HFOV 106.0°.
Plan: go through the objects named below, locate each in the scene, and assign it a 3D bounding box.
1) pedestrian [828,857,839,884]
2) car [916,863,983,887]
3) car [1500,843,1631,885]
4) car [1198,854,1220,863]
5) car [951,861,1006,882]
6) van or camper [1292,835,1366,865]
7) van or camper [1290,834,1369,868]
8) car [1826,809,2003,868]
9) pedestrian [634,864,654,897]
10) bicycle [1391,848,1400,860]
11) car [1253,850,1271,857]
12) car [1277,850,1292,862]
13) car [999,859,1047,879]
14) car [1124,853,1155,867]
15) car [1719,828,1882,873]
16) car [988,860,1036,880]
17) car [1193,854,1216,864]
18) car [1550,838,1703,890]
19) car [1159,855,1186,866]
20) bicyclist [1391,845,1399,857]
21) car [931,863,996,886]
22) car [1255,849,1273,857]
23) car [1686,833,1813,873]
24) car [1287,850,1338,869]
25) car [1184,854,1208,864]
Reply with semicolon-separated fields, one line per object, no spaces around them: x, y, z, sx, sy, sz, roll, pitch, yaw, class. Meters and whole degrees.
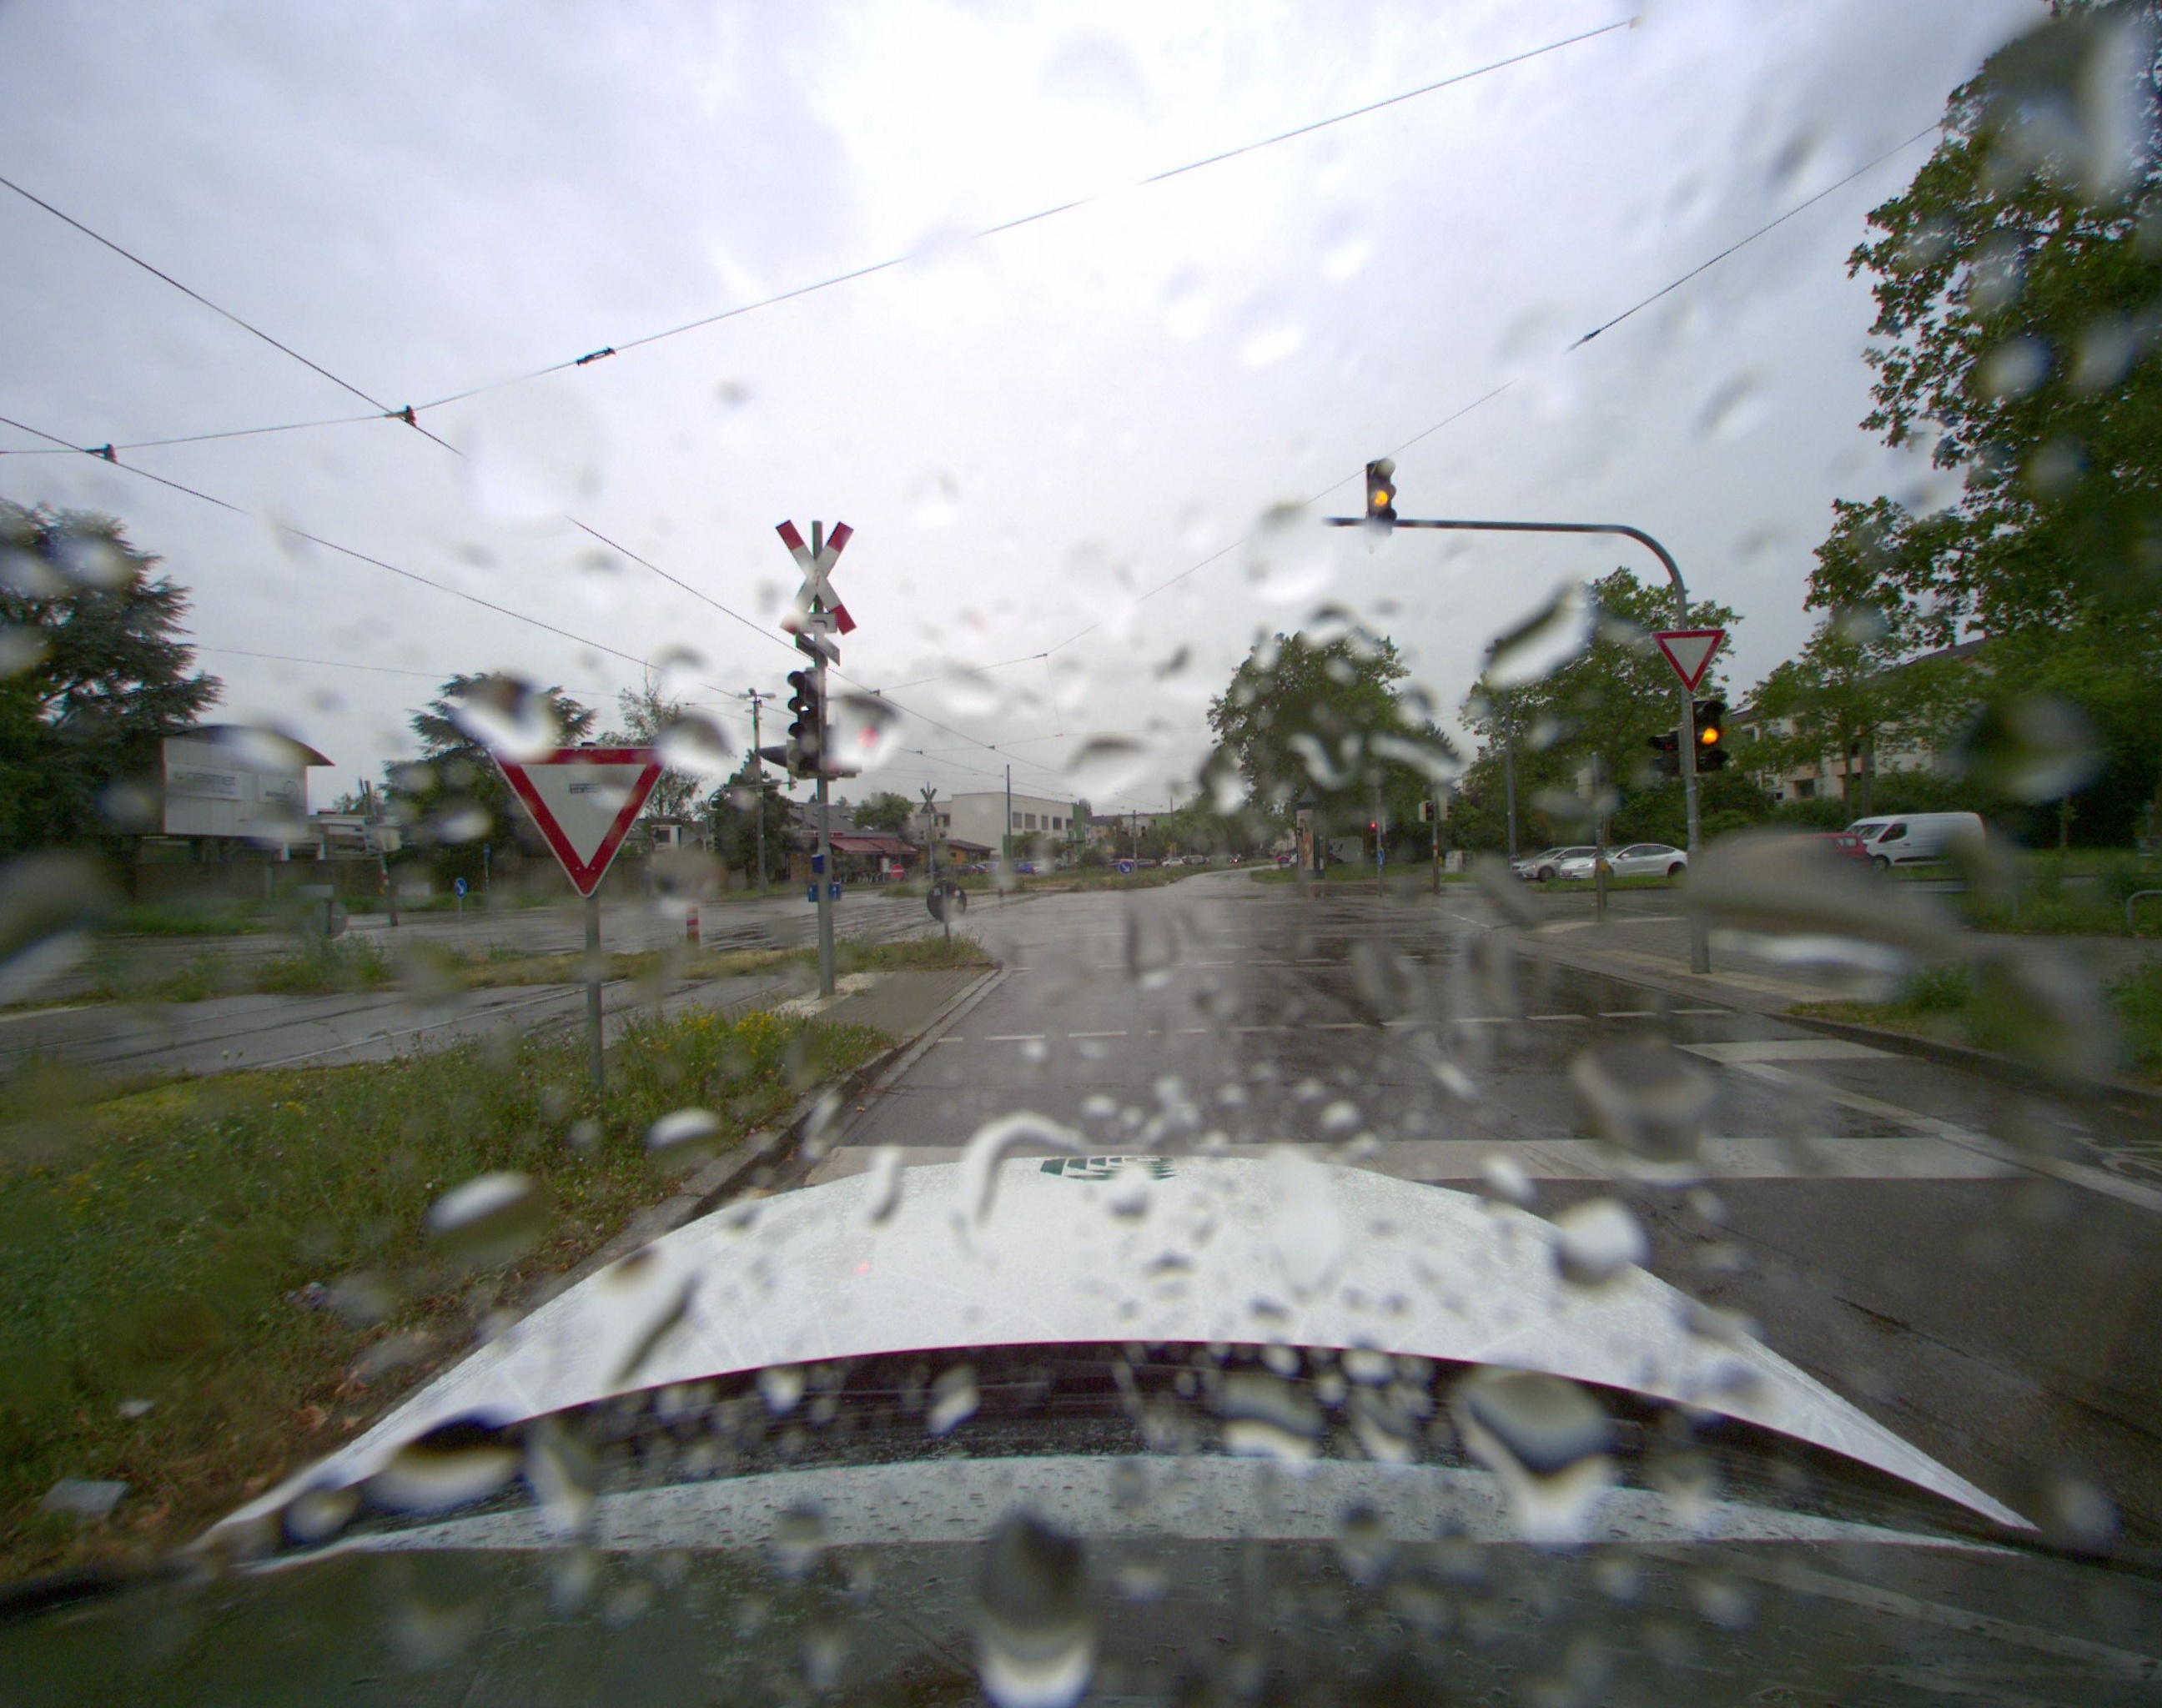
-18.617;1.257;61.236;0.726;2.014;0.789;0;-1;-21;pedestrian
-9.560;1.518;59.361;4.459;1.418;1.860;-3;-1;3;car
20.185;0.418;34.034;4.385;1.691;1.931;0;-1;-5;car
24.967;0.913;158.543;3.977;1.832;1.998;0;-1;-3;car
-8.177;1.395;65.130;3.966;1.582;1.862;-2;-1;6;car
27.178;-0.411;89.151;7.359;3.178;3.281;-1;-1;24;van or camper
24.454;-0.223;80.127;7.261;3.178;3.278;-1;-1;20;van or camper
35.215;-0.622;34.510;5.589;2.392;1.999;0;-1;-2;car
-23.949;1.453;44.652;0.890;1.797;0.719;0;0;-33;pedestrian
38.156;-0.038;98.882;0.854;1.425;2.715;-1;-1;17;bicycle
44.041;-0.113;197.900;3.977;1.832;1.998;0;-1;-3;car
29.556;0.237;118.411;1.792;1.686;3.929;-1;-1;18;car
-5.226;1.364;73.193;4.112;1.641;1.922;-1;-1;-12;car
7.893;0.857;110.121;3.980;1.887;1.997;0;-1;-5;car
26.985;-0.111;30.652;4.589;1.607;1.790;0;-1;-1;car
-5.974;1.367;70.095;3.986;1.582;1.924;-2;-1;-9;car
23.230;0.885;153.511;3.986;1.832;1.994;0;-1;-10;car
20.475;0.367;30.671;4.585;1.828;1.931;0;-1;-5;car
14.211;0.968;126.628;3.772;1.702;1.832;0;-1;-8;car
38.266;-0.346;99.263;0.854;1.425;0.960;-1;-1;17;bicyclist
-8.891;1.548;61.754;4.478;1.418;1.860;-3;-1;3;car
45.487;-0.286;202.604;3.977;1.832;1.998;0;-1;-3;car
28.189;-0.037;34.402;4.048;1.607;1.788;0;-1;-5;car
21.980;0.513;77.233;4.405;1.717;2.011;-1;-1;23;car
20.409;0.869;144.609;3.986;1.759;2.004;0;-1;-10;car
